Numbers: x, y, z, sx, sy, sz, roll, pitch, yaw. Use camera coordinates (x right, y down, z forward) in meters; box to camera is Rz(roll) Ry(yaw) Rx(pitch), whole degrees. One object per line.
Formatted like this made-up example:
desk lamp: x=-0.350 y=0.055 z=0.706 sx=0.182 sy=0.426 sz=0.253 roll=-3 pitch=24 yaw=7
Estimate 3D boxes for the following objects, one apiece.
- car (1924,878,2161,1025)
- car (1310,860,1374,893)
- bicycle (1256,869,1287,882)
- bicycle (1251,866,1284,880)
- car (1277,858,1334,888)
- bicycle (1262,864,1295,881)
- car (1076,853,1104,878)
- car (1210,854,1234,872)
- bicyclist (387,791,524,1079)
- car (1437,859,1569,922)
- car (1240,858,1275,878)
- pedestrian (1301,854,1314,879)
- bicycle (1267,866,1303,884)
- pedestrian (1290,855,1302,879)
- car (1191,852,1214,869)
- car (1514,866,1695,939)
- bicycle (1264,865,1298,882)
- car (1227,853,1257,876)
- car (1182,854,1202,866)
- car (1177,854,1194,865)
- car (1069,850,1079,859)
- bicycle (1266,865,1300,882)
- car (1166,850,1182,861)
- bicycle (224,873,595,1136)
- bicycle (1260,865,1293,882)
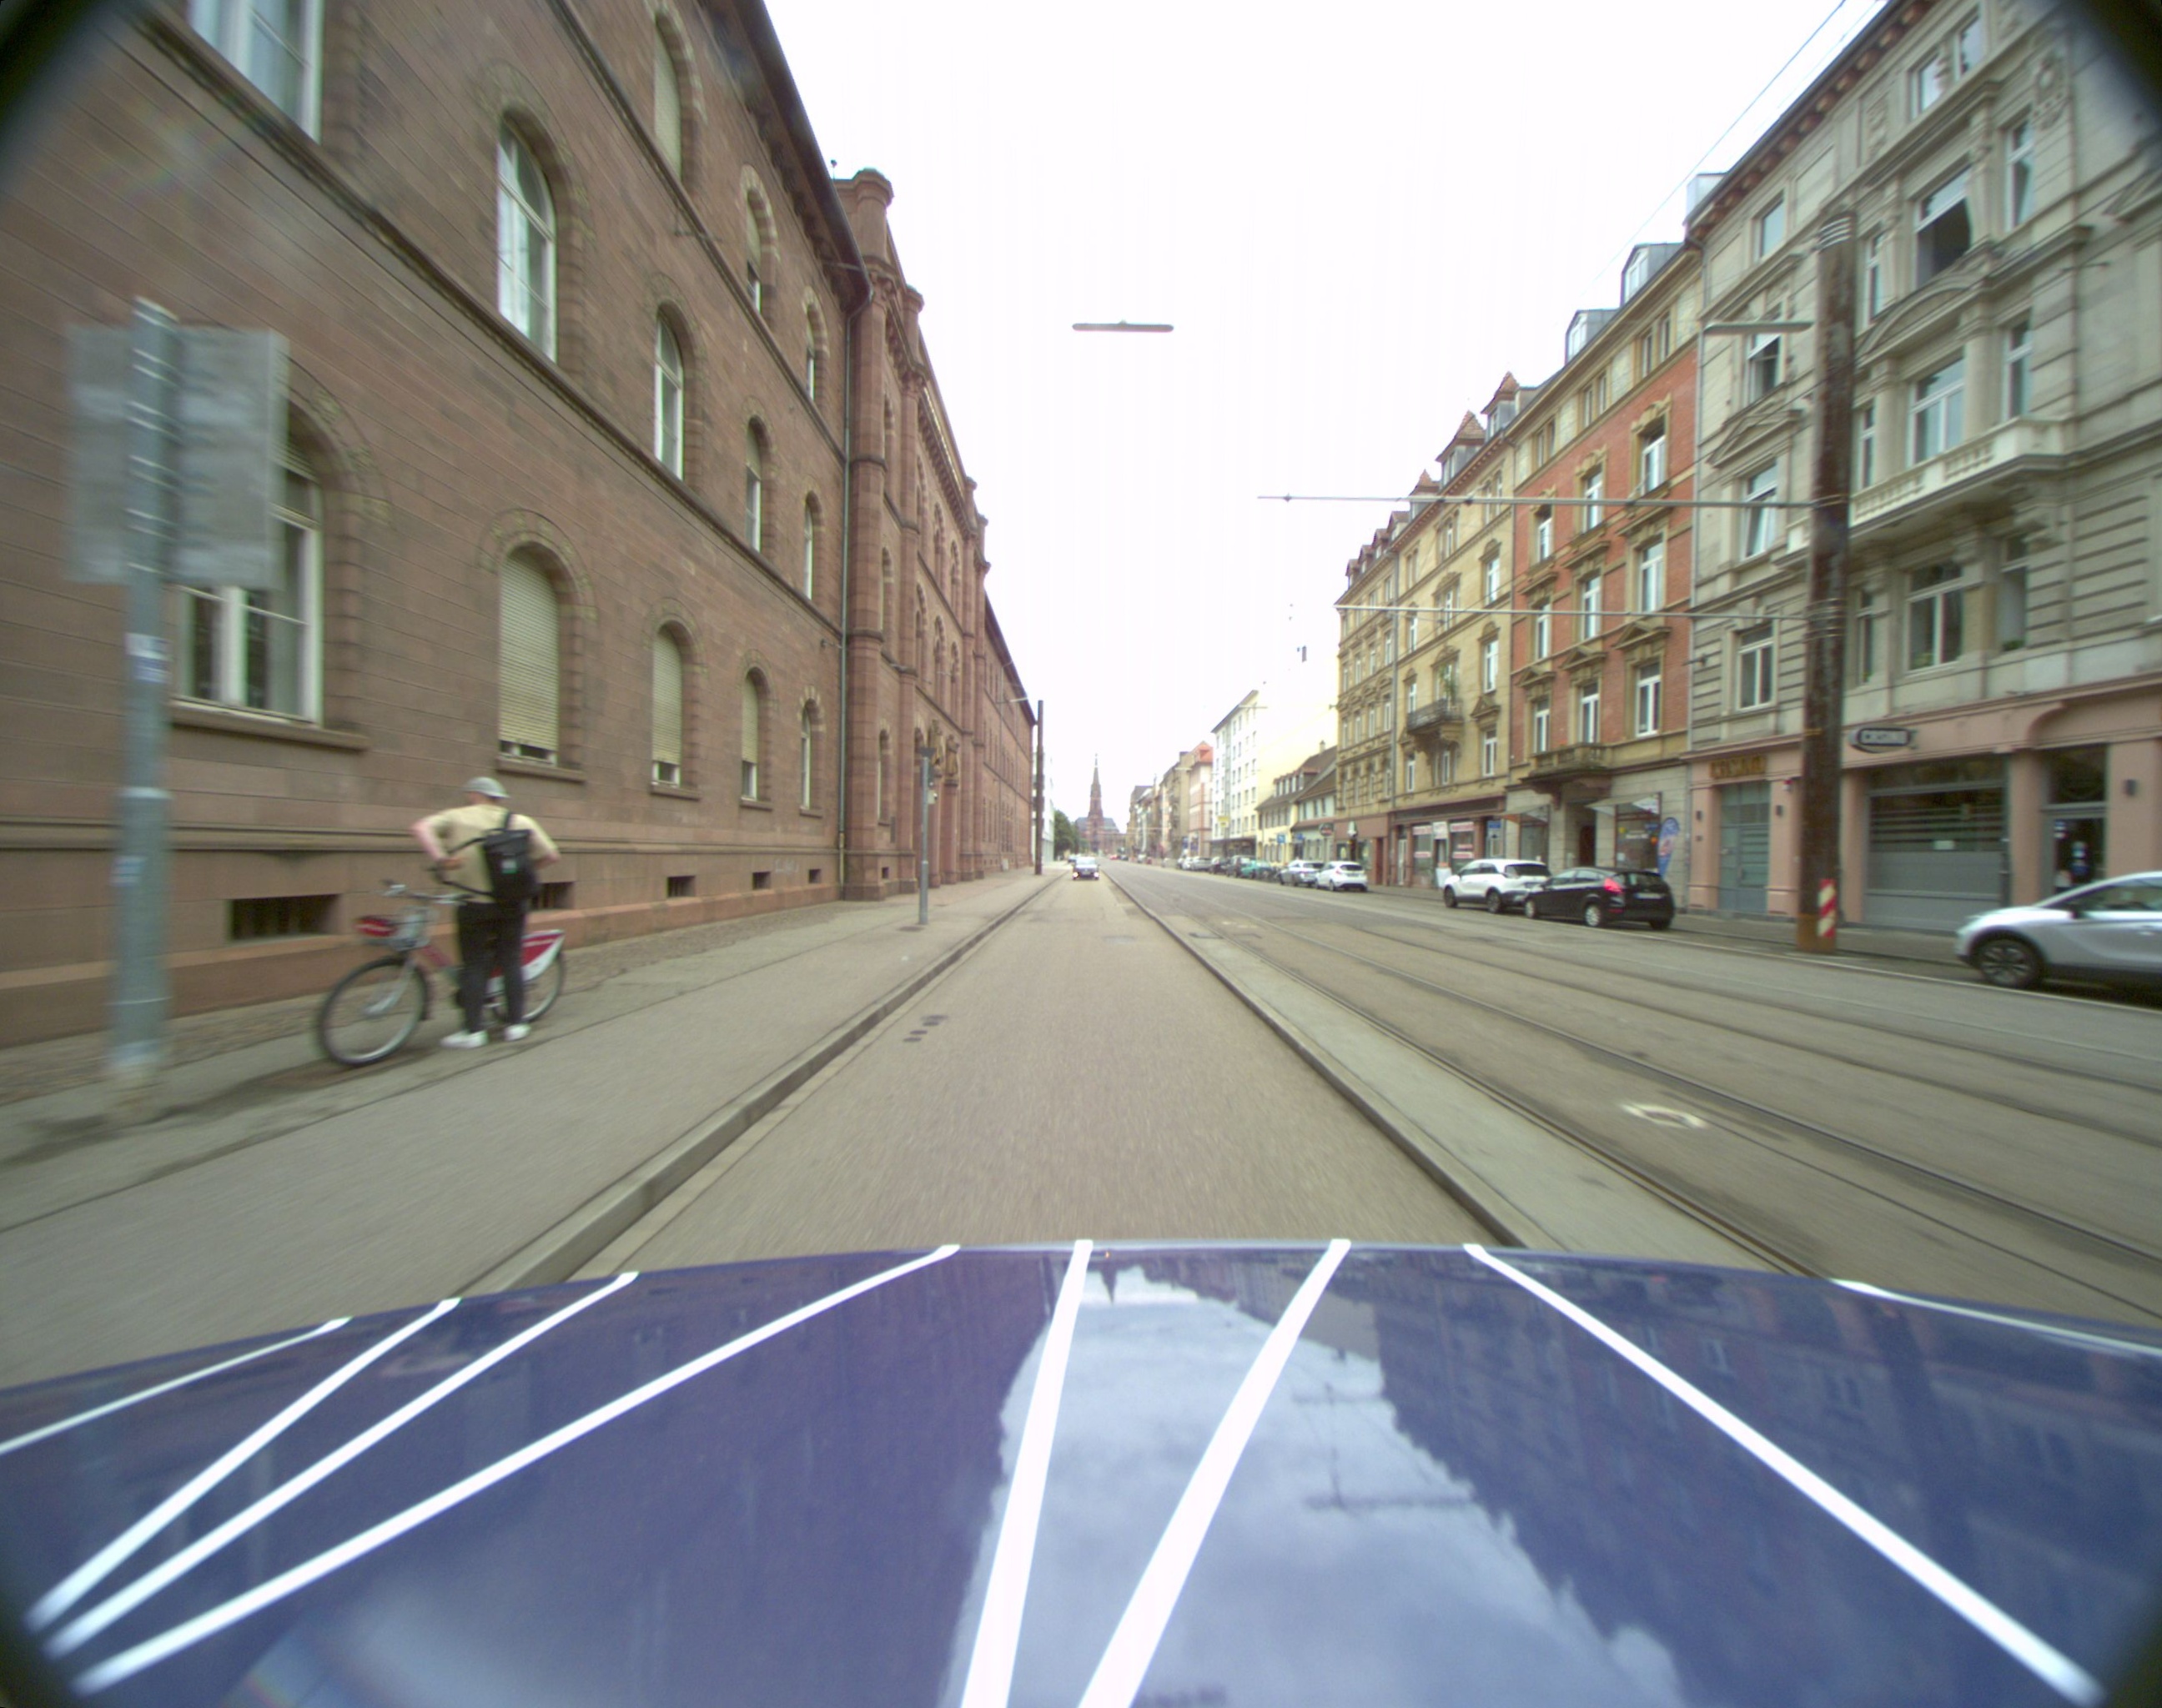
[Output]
car: x=12.607 y=1.122 z=8.439 sx=1.748 sy=1.524 sz=4.225 roll=2 pitch=0 yaw=0
car: x=12.879 y=1.063 z=37.762 sx=1.748 sy=1.456 sz=4.046 roll=2 pitch=0 yaw=0
bicycle: x=13.133 y=1.480 z=52.356 sx=2.044 sy=0.928 sz=0.557 roll=0 pitch=1 yaw=2
bicycle: x=13.013 y=1.311 z=53.031 sx=2.126 sy=0.928 sz=0.557 roll=0 pitch=1 yaw=-2
car: x=12.493 y=1.008 z=42.576 sx=1.829 sy=1.512 sz=4.545 roll=2 pitch=0 yaw=1
bicycle: x=12.961 y=1.227 z=49.855 sx=2.044 sy=1.091 sz=0.557 roll=0 pitch=1 yaw=1
car: x=0.568 y=0.706 z=49.683 sx=1.747 sy=1.538 sz=3.650 roll=0 pitch=1 yaw=-1
car: x=13.320 y=0.841 z=71.965 sx=1.704 sy=1.662 sz=4.181 roll=0 pitch=1 yaw=2
bicyclist: x=-4.192 y=0.521 z=5.117 sx=0.530 sy=1.847 sz=0.450 roll=2 pitch=1 yaw=0
car: x=12.767 y=1.035 z=23.283 sx=1.748 sy=1.663 sz=4.046 roll=2 pitch=0 yaw=0
car: x=13.263 y=1.026 z=57.248 sx=1.651 sy=1.373 sz=3.435 roll=2 pitch=0 yaw=-3
pedestrian: x=15.412 y=0.824 z=51.649 sx=0.657 sy=1.702 sz=0.753 roll=0 pitch=1 yaw=0
bicycle: x=12.865 y=1.314 z=48.008 sx=2.139 sy=1.091 sz=0.557 roll=0 pitch=1 yaw=1
pedestrian: x=14.665 y=0.870 z=51.868 sx=0.657 sy=1.607 sz=0.728 roll=0 pitch=1 yaw=0
car: x=13.263 y=0.680 z=83.017 sx=1.928 sy=1.722 sz=3.826 roll=0 pitch=1 yaw=0
car: x=12.640 y=1.103 z=18.690 sx=1.748 sy=1.479 sz=3.920 roll=2 pitch=0 yaw=1
bicycle: x=12.980 y=1.249 z=49.274 sx=2.044 sy=1.091 sz=0.557 roll=0 pitch=1 yaw=1
car: x=13.056 y=0.813 z=61.729 sx=1.707 sy=1.747 sz=3.920 roll=2 pitch=1 yaw=2
car: x=13.112 y=0.685 z=89.903 sx=1.733 sy=1.443 sz=3.826 roll=0 pitch=1 yaw=0
car: x=13.225 y=0.744 z=96.067 sx=1.733 sy=1.336 sz=3.246 roll=0 pitch=1 yaw=0
car: x=-1.385 y=0.125 z=153.234 sx=1.835 sy=1.652 sz=4.000 roll=0 pitch=1 yaw=1
bicycle: x=12.935 y=1.250 z=48.619 sx=2.044 sy=1.091 sz=0.557 roll=0 pitch=1 yaw=1
car: x=13.951 y=0.204 z=113.748 sx=1.867 sy=1.553 sz=4.000 roll=3 pitch=1 yaw=1
bicycle: x=-4.187 y=0.806 z=5.040 sx=0.446 sy=1.269 sz=2.226 roll=3 pitch=1 yaw=0
bicycle: x=12.973 y=1.272 z=50.518 sx=2.044 sy=1.091 sz=0.557 roll=0 pitch=1 yaw=1
